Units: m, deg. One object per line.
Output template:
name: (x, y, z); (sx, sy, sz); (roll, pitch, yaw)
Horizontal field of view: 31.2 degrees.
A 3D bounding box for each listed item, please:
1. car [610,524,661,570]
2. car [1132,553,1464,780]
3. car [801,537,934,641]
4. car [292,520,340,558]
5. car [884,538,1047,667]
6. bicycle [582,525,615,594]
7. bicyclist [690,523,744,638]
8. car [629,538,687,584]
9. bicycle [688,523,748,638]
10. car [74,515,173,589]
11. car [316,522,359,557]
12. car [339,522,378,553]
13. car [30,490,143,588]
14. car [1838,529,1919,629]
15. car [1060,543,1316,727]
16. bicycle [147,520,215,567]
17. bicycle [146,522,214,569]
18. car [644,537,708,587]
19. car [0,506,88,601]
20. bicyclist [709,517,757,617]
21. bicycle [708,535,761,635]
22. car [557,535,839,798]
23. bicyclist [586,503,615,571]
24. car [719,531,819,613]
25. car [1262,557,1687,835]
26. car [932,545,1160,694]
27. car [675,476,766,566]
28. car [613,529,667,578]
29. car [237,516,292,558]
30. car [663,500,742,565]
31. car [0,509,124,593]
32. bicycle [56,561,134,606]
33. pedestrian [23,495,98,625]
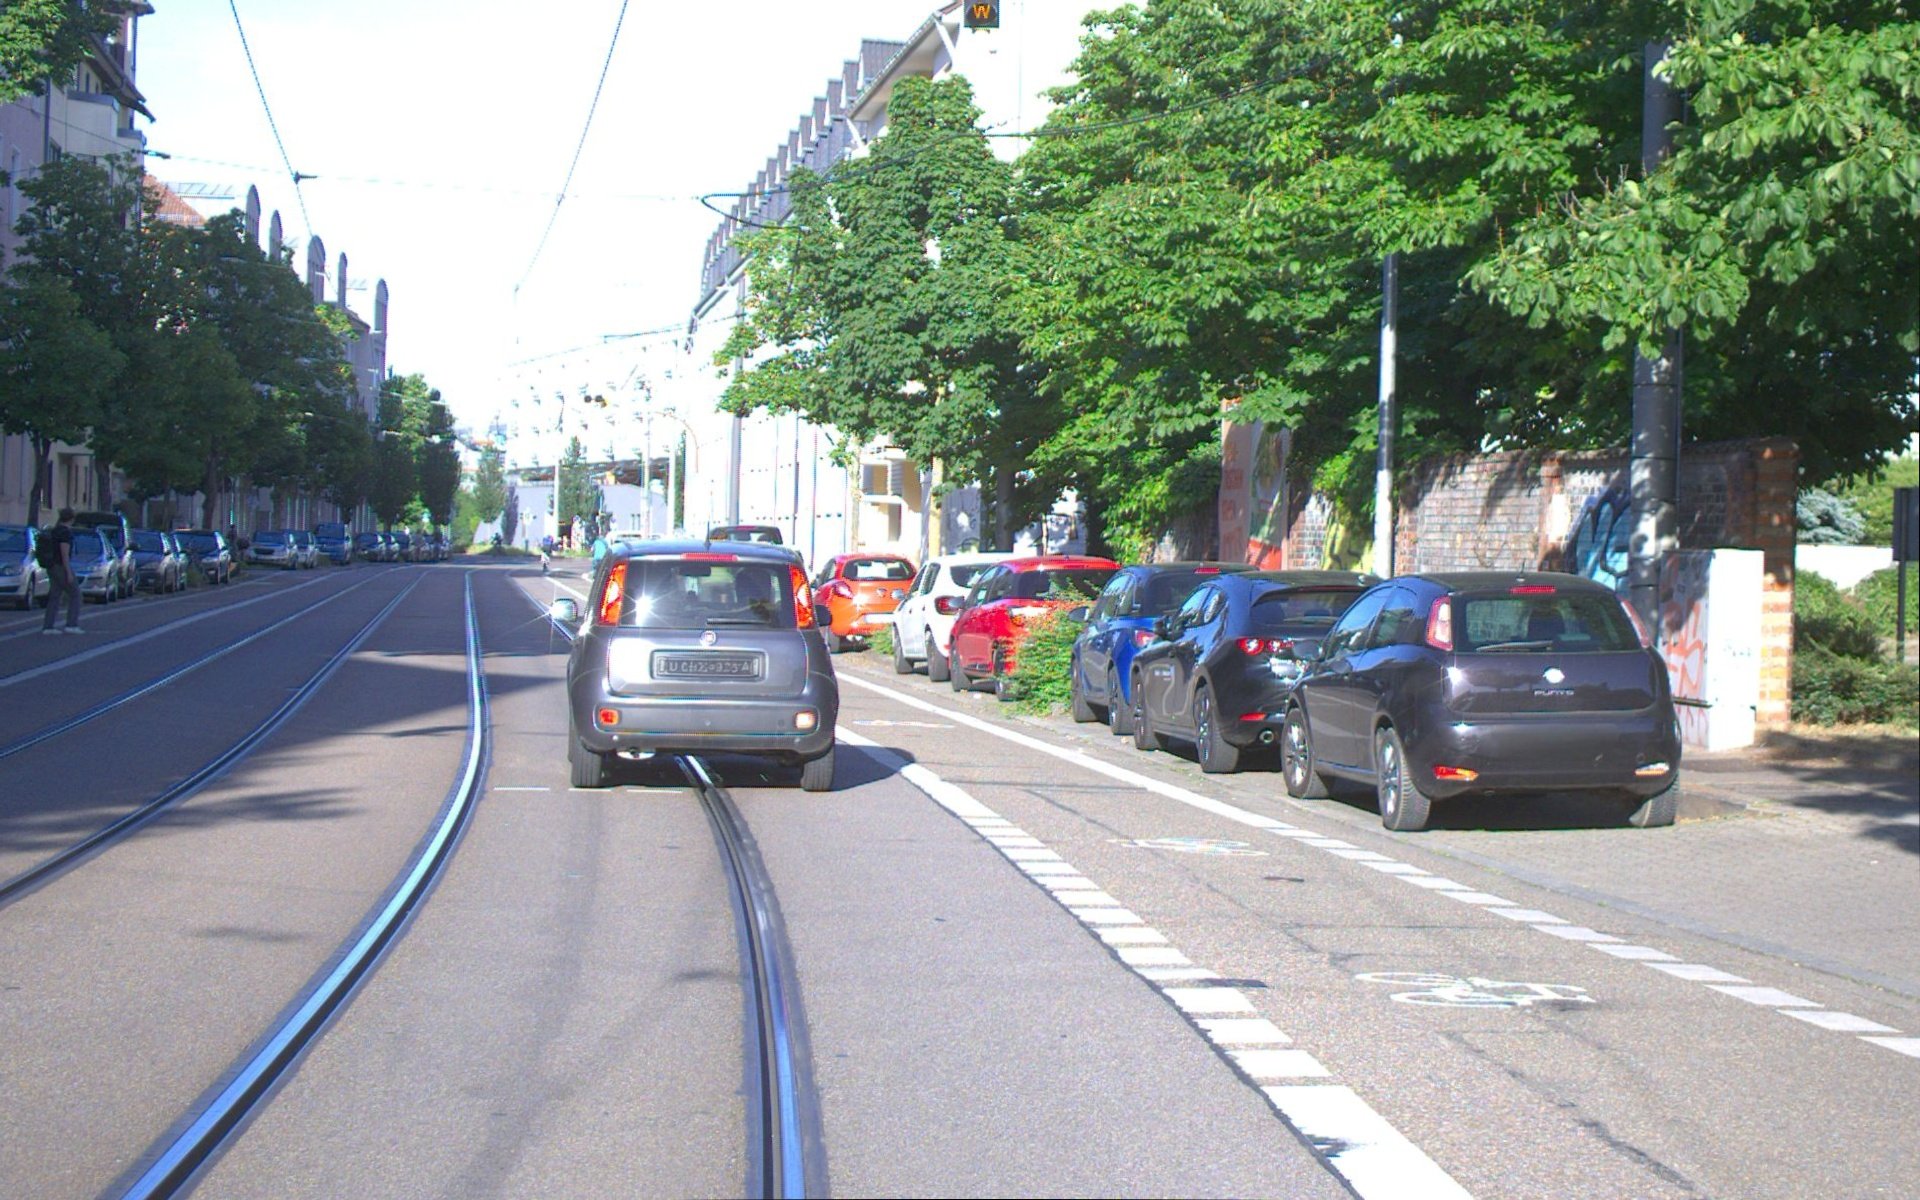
car: (-11.932, -1.966, 126.462); (1.582, 1.593, 3.377); (3, 1, -9)
car: (2.418, 0.429, 25.643); (1.688, 1.525, 4.356); (0, 1, -5)
car: (-1.437, -0.193, 52.376); (1.635, 1.503, 3.398); (-1, 1, -8)
car: (-27.088, -2.558, 144.726); (1.706, 1.491, 3.723); (3, 1, -7)
car: (0.021, -0.005, 42.876); (1.688, 1.525, 4.001); (0, 1, -5)
bicycle: (-10.910, -1.228, 103.795); (0.741, 2.007, 2.812); (3, 1, -9)
bicyclist: (-3.809, -0.313, 53.854); (0.699, 1.753, 0.758); (3, 1, -9)
car: (-9.925, -1.279, 112.753); (1.582, 1.400, 3.377); (3, 1, -9)
bicycle: (-3.801, -0.324, 53.878); (0.675, 1.741, 2.158); (3, 1, -9)
car: (-19.650, -1.148, 80.843); (1.808, 1.614, 4.065); (3, 1, -8)
car: (-28.747, -2.808, 158.811); (1.706, 1.491, 3.723); (3, 1, -7)
car: (-30.478, -3.173, 174.393); (1.706, 1.491, 3.723); (3, 1, -7)
car: (-18.585, -1.304, 73.291); (1.808, 1.937, 4.335); (3, 1, -8)
car: (18.453, -0.319, 63.148); (3.986, 1.766, 2.000); (3, 1, -6)
car: (1.966, 0.262, 30.710); (1.688, 1.525, 4.001); (0, 1, -5)
bicycle: (-21.179, -1.544, 93.484); (1.728, 1.192, 0.373); (3, 1, -11)
bicycle: (-21.107, -1.482, 93.066); (1.728, 1.192, 0.373); (3, 1, -11)
car: (-8.359, -1.132, 100.957); (1.582, 1.400, 3.377); (-2, 1, -9)
car: (-16.000, -0.817, 58.368); (1.808, 1.503, 4.192); (3, 1, -8)
bicyclist: (-4.088, -0.601, 61.834); (0.699, 1.753, 0.758); (3, 1, -9)
bicycle: (-4.075, -0.286, 61.883); (0.675, 1.741, 2.158); (3, 1, -9)
car: (-1.693, 0.350, 22.350); (1.650, 1.536, 4.235); (0, 1, -4)
bicyclist: (-10.858, -1.910, 103.853); (0.715, 2.007, 0.832); (3, 1, -9)
car: (-3.947, -0.590, 70.739); (1.655, 1.566, 3.500); (3, 1, -9)
car: (3.044, 0.512, 21.144); (1.688, 1.525, 4.001); (0, 1, -5)
car: (0.884, 0.173, 37.730); (1.688, 1.525, 4.001); (0, 1, -11)
car: (-5.607, -1.837, 80.068); (1.655, 1.937, 4.666); (3, 1, -9)
car: (-11.122, -1.629, 119.356); (1.582, 1.593, 3.377); (3, 1, -9)
car: (-26.355, -2.379, 130.382); (1.706, 1.491, 3.723); (3, 1, -7)
car: (-6.383, -1.663, 84.926); (1.655, 1.495, 3.130); (3, 1, -9)
car: (-17.607, -0.976, 67.484); (1.808, 1.503, 4.682); (3, 1, -8)
bicycle: (-19.387, -0.368, 77.057); (1.631, 0.934, 0.517); (3, 1, -12)
pedestrian: (-12.475, -0.557, 47.657); (0.849, 1.770, 0.735); (0, 2, -28)
